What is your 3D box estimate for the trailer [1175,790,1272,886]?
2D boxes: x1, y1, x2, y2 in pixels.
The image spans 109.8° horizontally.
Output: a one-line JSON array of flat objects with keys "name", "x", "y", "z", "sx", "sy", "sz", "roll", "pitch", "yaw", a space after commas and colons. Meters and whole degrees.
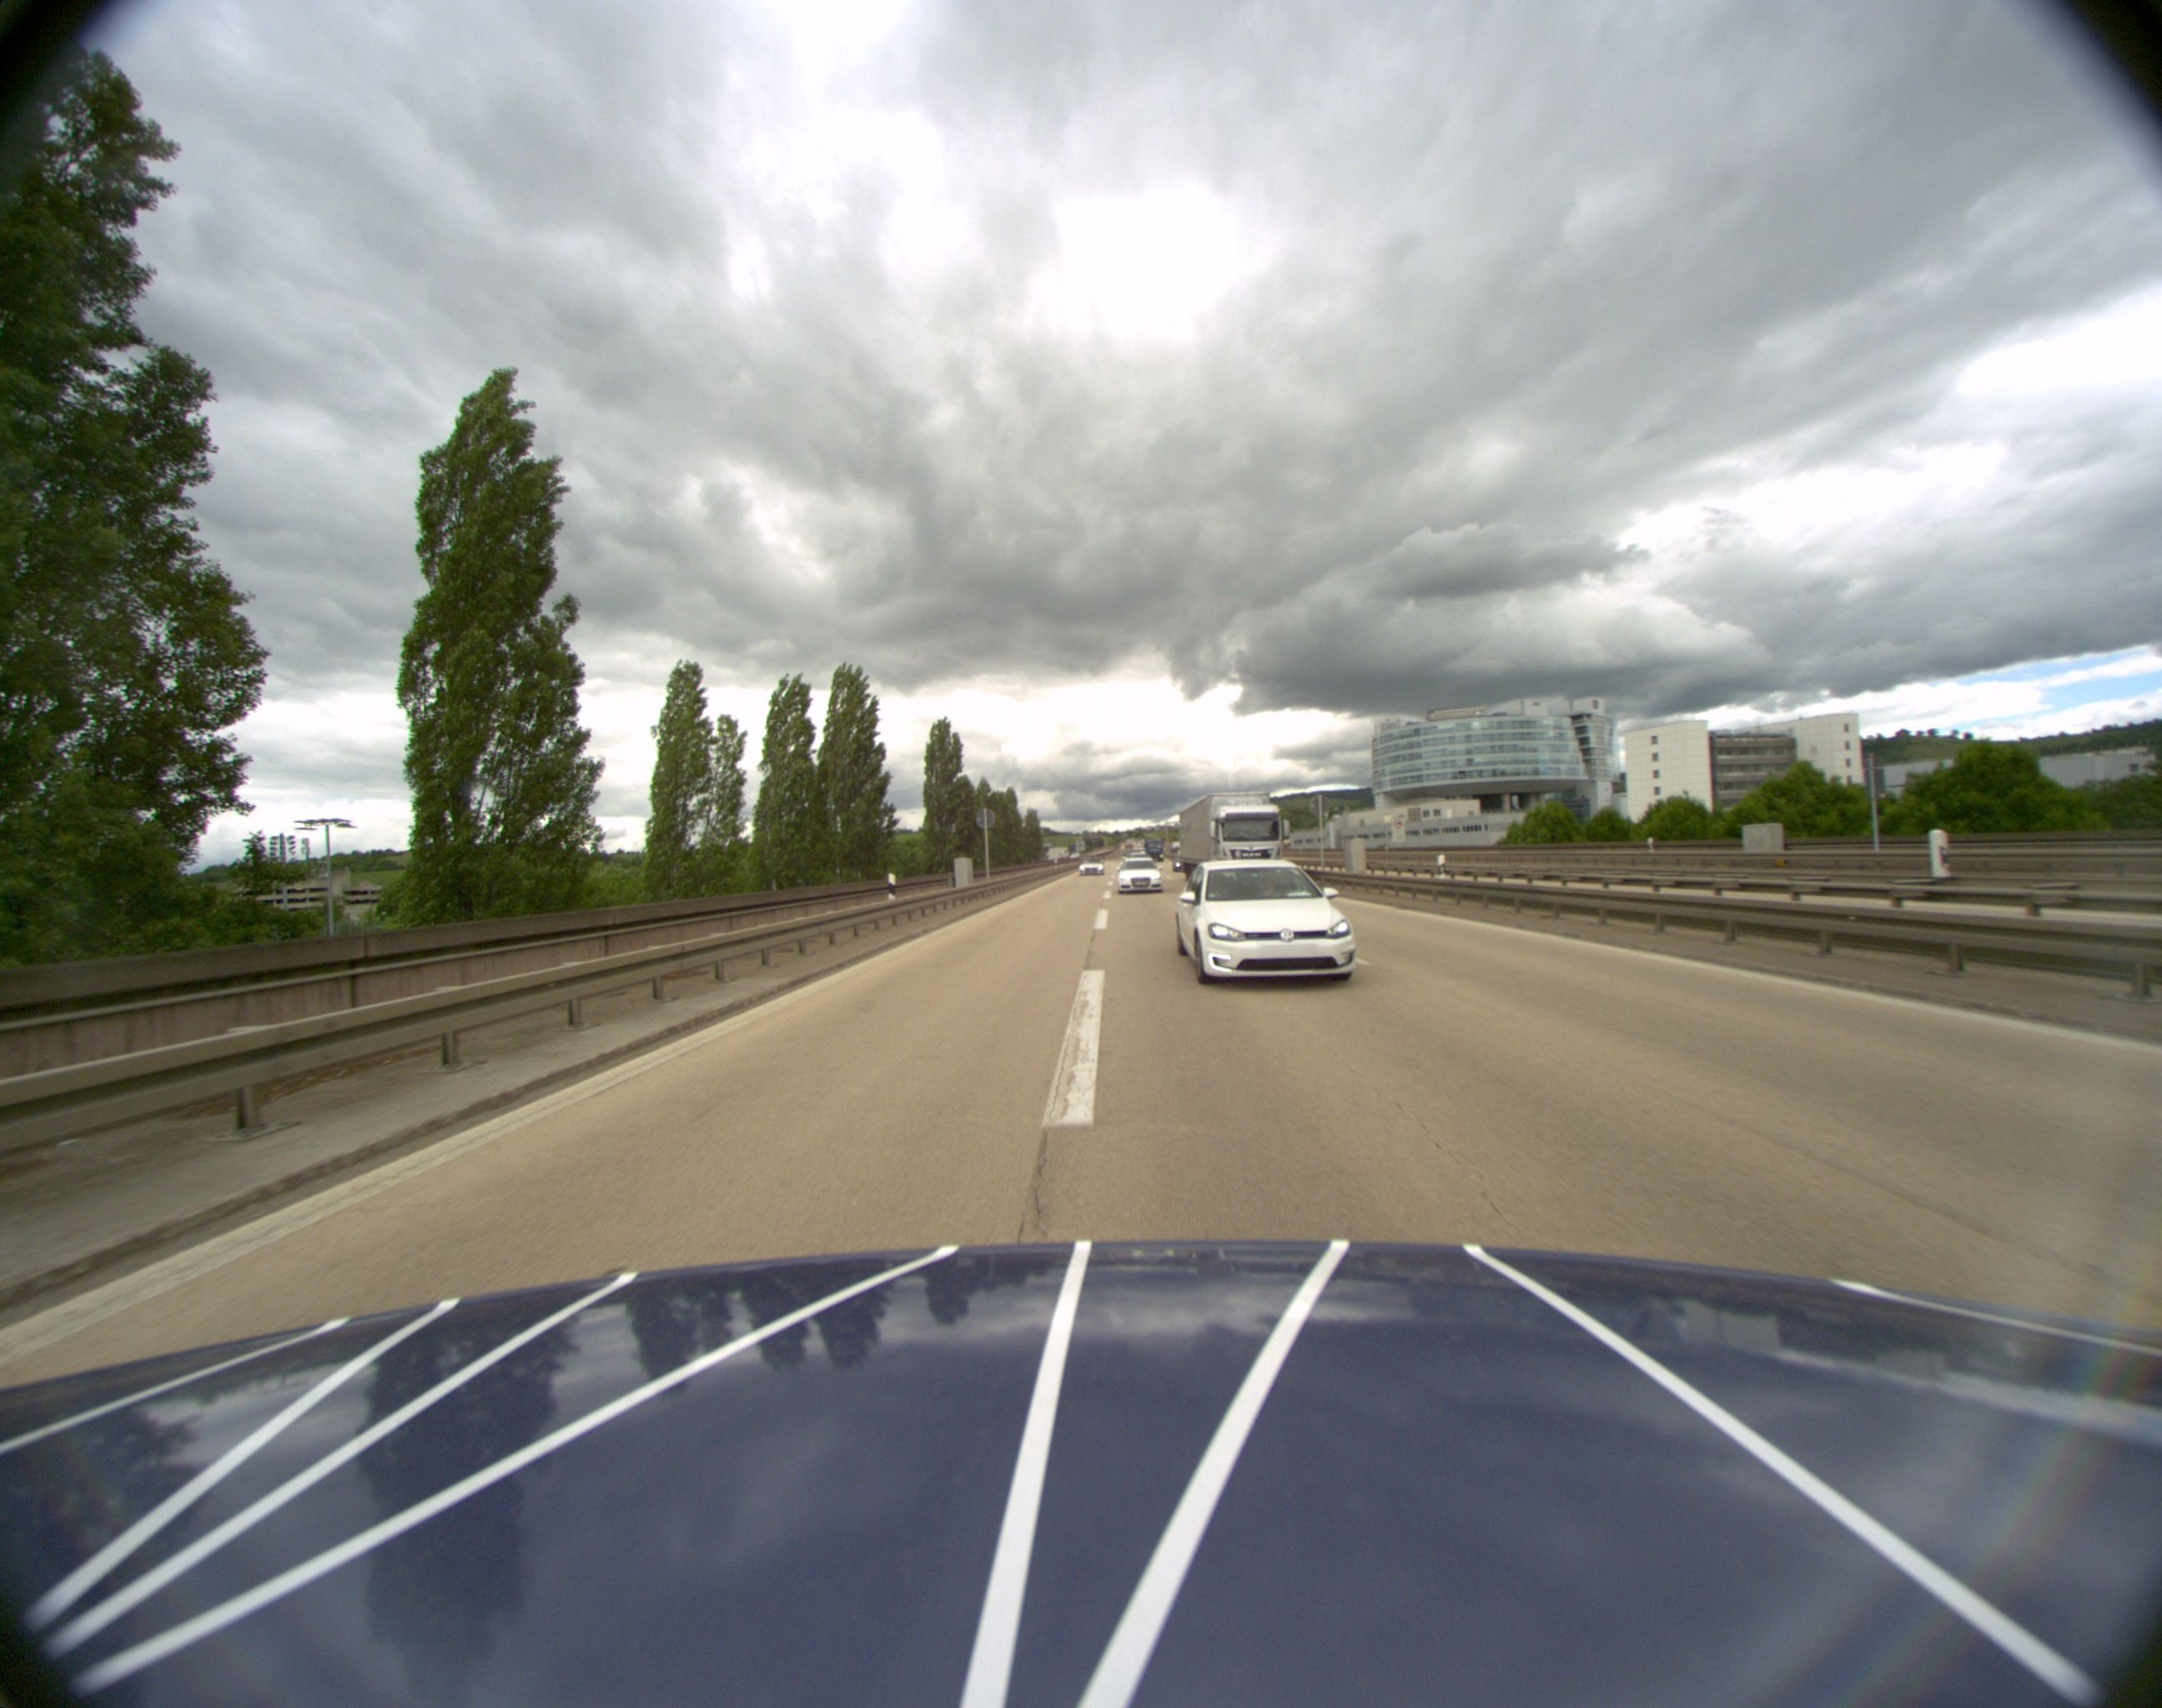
[{"name": "trailer", "x": 7.006, "y": -0.763, "z": 39.344, "sx": 3.189, "sy": 4.003, "sz": 11.766, "roll": -3, "pitch": 1, "yaw": 3}]

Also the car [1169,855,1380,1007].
[{"name": "car", "x": 2.281, "y": 0.826, "z": 10.069, "sx": 1.930, "sy": 1.499, "sz": 4.061, "roll": -2, "pitch": 1, "yaw": 3}]

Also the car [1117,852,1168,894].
[{"name": "car", "x": 2.535, "y": 0.738, "z": 31.792, "sx": 1.930, "sy": 1.499, "sz": 4.061, "roll": -3, "pitch": 1, "yaw": 3}]

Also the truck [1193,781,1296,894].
[{"name": "truck", "x": 6.495, "y": -0.648, "z": 31.118, "sx": 3.141, "sy": 4.014, "sz": 5.689, "roll": -3, "pitch": 1, "yaw": 4}]

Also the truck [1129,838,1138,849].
[{"name": "truck", "x": 16.744, "y": -3.401, "z": 242.061, "sx": 2.625, "sy": 3.219, "sz": 6.687, "roll": -2, "pitch": 1, "yaw": 4}]

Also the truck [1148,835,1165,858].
[{"name": "truck", "x": 11.257, "y": -1.176, "z": 113.544, "sx": 2.336, "sy": 3.219, "sz": 6.687, "roll": -2, "pitch": 1, "yaw": 4}]

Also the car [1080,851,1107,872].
[{"name": "car", "x": 1.024, "y": 0.601, "z": 61.137, "sx": 1.930, "sy": 1.499, "sz": 4.061, "roll": -3, "pitch": 1, "yaw": 3}]

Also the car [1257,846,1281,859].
[{"name": "car", "x": 21.029, "y": -0.170, "z": 85.241, "sx": 1.790, "sy": 1.369, "sz": 4.230, "roll": -3, "pitch": 1, "yaw": 3}]

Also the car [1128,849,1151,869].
[{"name": "car", "x": 5.284, "y": 0.430, "z": 68.575, "sx": 1.930, "sy": 1.585, "sz": 4.061, "roll": -3, "pitch": 1, "yaw": 3}]

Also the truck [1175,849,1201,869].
[{"name": "truck", "x": 8.696, "y": 0.354, "z": 62.039, "sx": 1.829, "sy": 1.521, "sz": 3.514, "roll": -2, "pitch": 1, "yaw": 3}]
